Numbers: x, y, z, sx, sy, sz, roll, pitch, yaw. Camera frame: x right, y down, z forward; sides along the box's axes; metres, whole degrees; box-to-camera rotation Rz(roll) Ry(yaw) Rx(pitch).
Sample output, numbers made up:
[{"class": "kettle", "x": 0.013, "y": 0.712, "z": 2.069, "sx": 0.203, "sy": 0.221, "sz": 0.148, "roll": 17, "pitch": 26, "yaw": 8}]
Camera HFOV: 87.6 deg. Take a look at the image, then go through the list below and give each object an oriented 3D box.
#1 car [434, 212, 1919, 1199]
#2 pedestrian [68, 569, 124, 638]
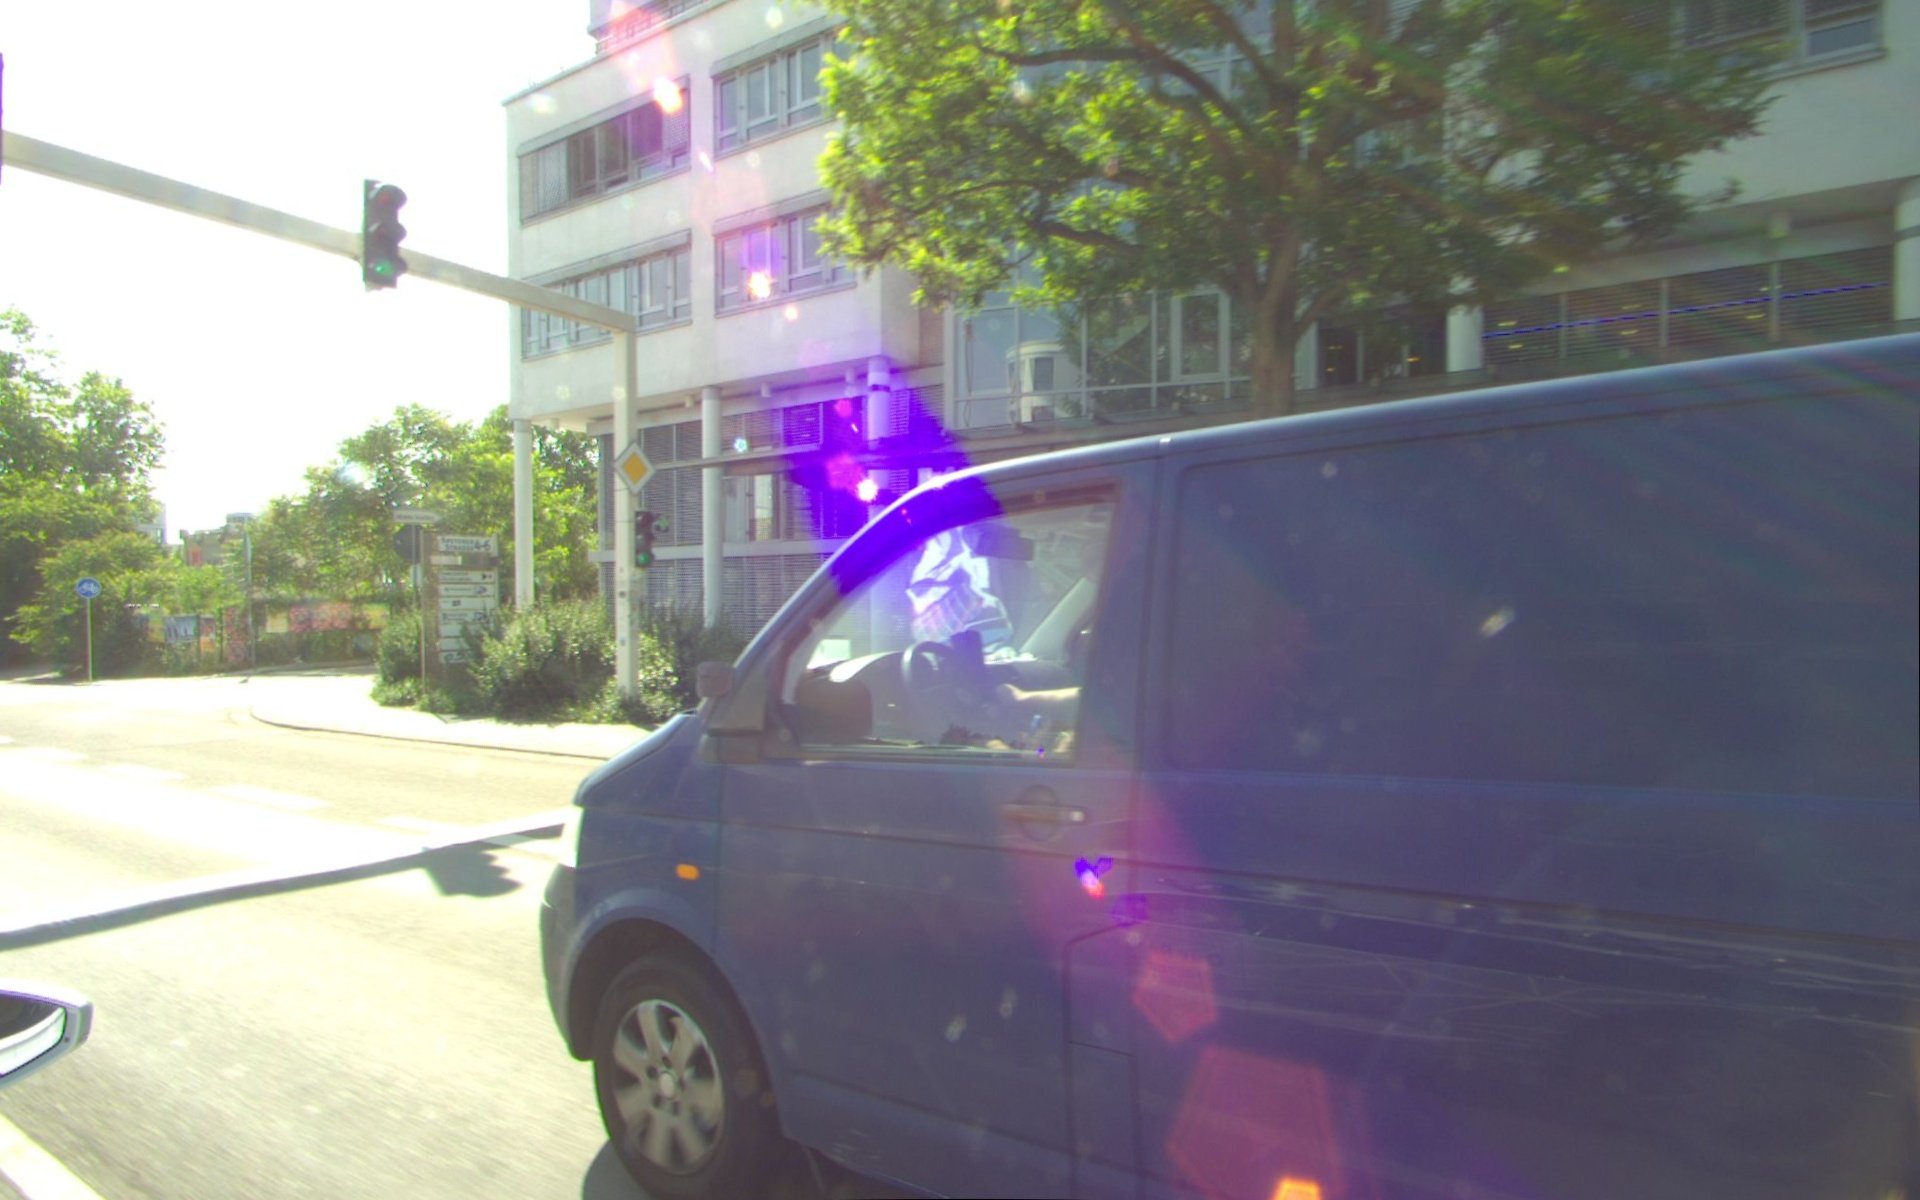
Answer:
[{"class": "car", "x": 0.931, "y": 0.542, "z": 2.599, "sx": 4.824, "sy": 1.973, "sz": 1.989, "roll": -2, "pitch": -1, "yaw": 34}, {"class": "pedestrian", "x": -26.267, "y": 0.108, "z": 30.454, "sx": 1.024, "sy": 2.040, "sz": 1.024, "roll": -1, "pitch": 0, "yaw": 33}]
